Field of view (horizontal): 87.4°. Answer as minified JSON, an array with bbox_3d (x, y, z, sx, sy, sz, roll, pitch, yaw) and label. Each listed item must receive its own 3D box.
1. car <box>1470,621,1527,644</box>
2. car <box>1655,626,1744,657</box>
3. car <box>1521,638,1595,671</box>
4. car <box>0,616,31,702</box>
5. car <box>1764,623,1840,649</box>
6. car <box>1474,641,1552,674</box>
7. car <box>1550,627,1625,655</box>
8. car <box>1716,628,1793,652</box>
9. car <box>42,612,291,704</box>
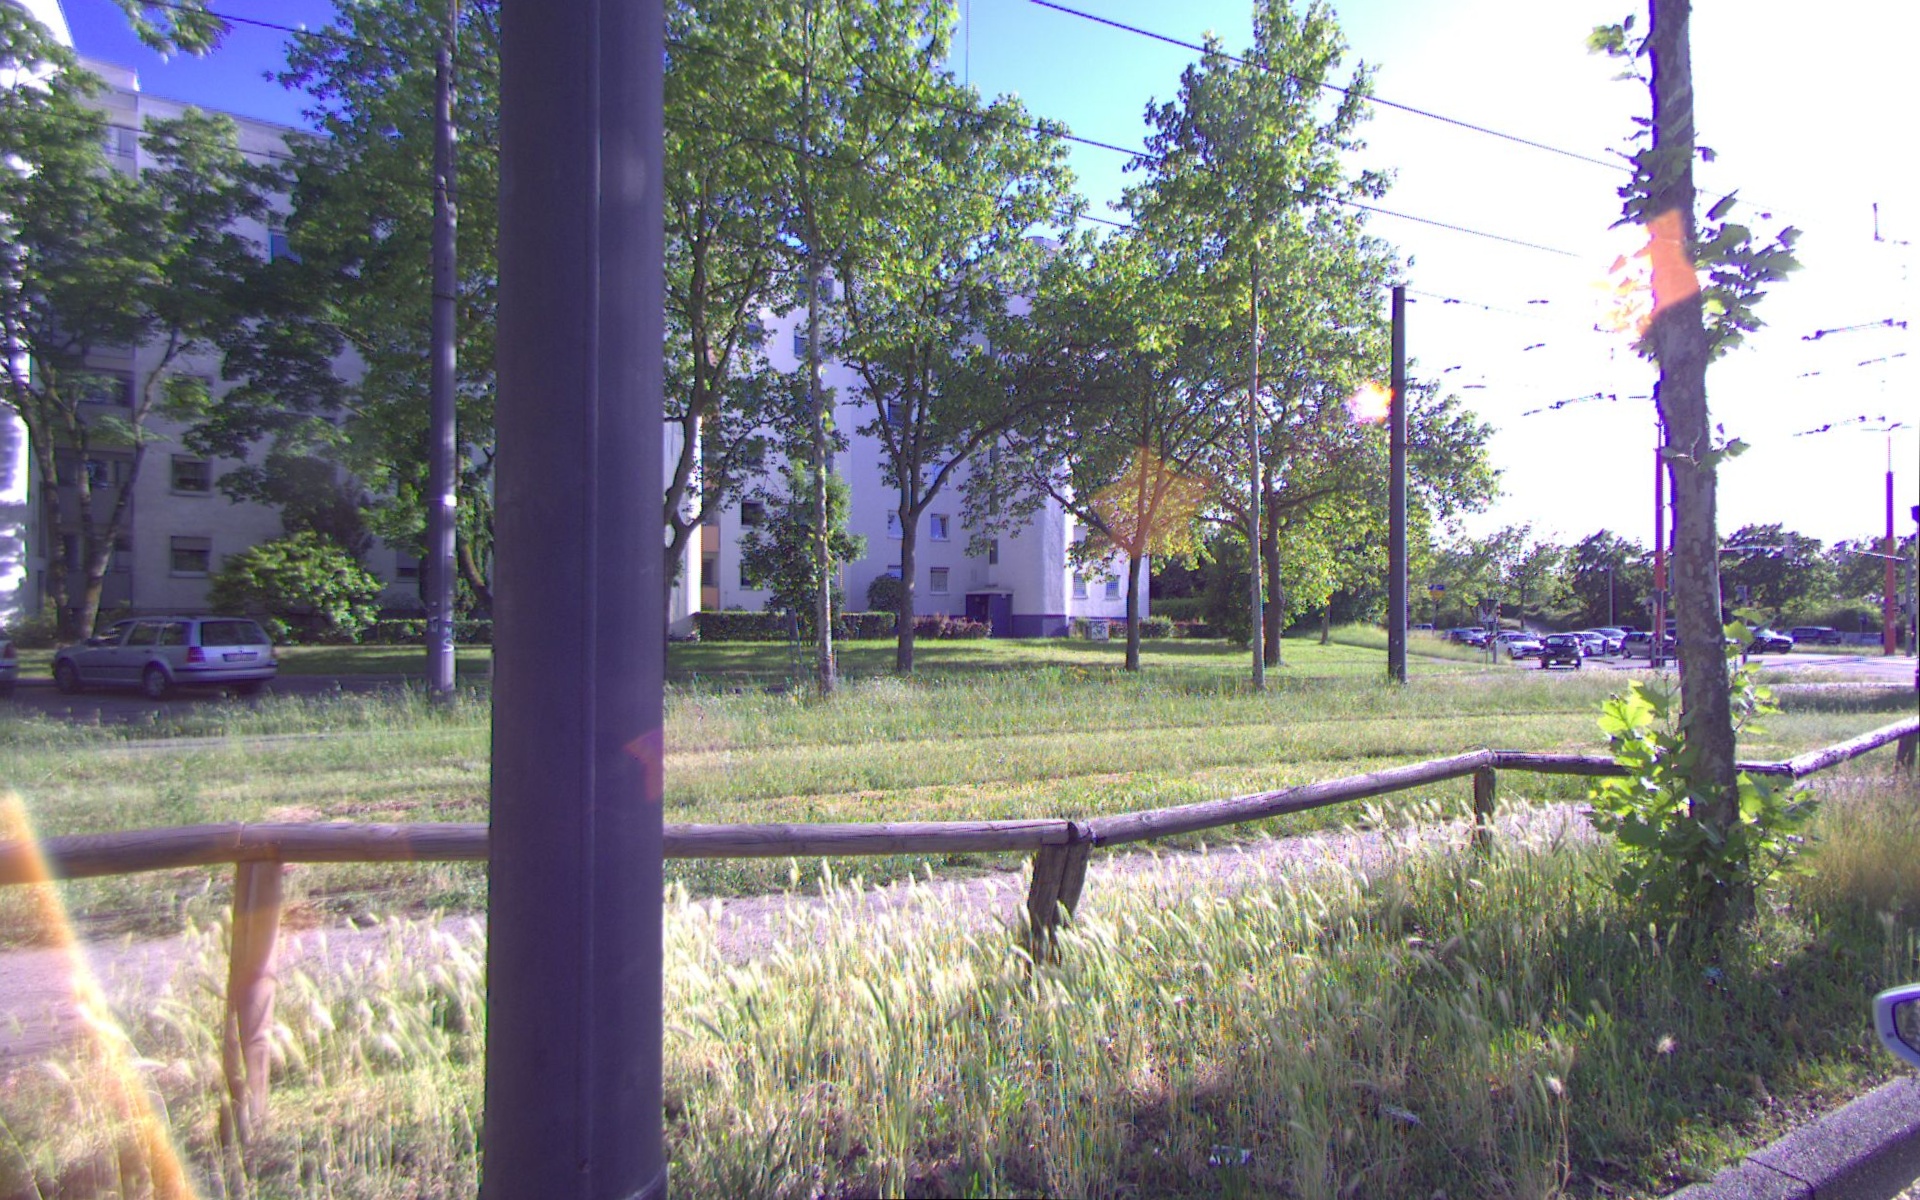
[{"bbox_3d":[38.388,2.302,71.675,1.699,1.533,3.998,1,-1,-4],"label":"car"},{"bbox_3d":[42.504,2.348,57.833,1.962,1.666,3.997,1,-1,-5],"label":"car"},{"bbox_3d":[27.325,2.459,45.873,2.816,1.409,1.790,1,-1,-30],"label":"car"},{"bbox_3d":[-17.960,0.974,17.125,3.547,1.439,1.576,1,0,18],"label":"car"},{"bbox_3d":[59.924,2.560,71.593,1.725,1.666,4.191,2,0,-3],"label":"car"},{"bbox_3d":[33.049,3.405,60.215,1.961,1.754,4.845,1,-1,-1],"label":"car"},{"bbox_3d":[38.996,2.500,62.518,1.833,1.633,4.185,1,-1,-4],"label":"car"},{"bbox_3d":[48.781,2.432,61.737,1.664,1.347,4.001,1,-1,2],"label":"car"},{"bbox_3d":[-14.599,1.003,18.513,3.898,1.462,1.710,1,0,18],"label":"car"}]
